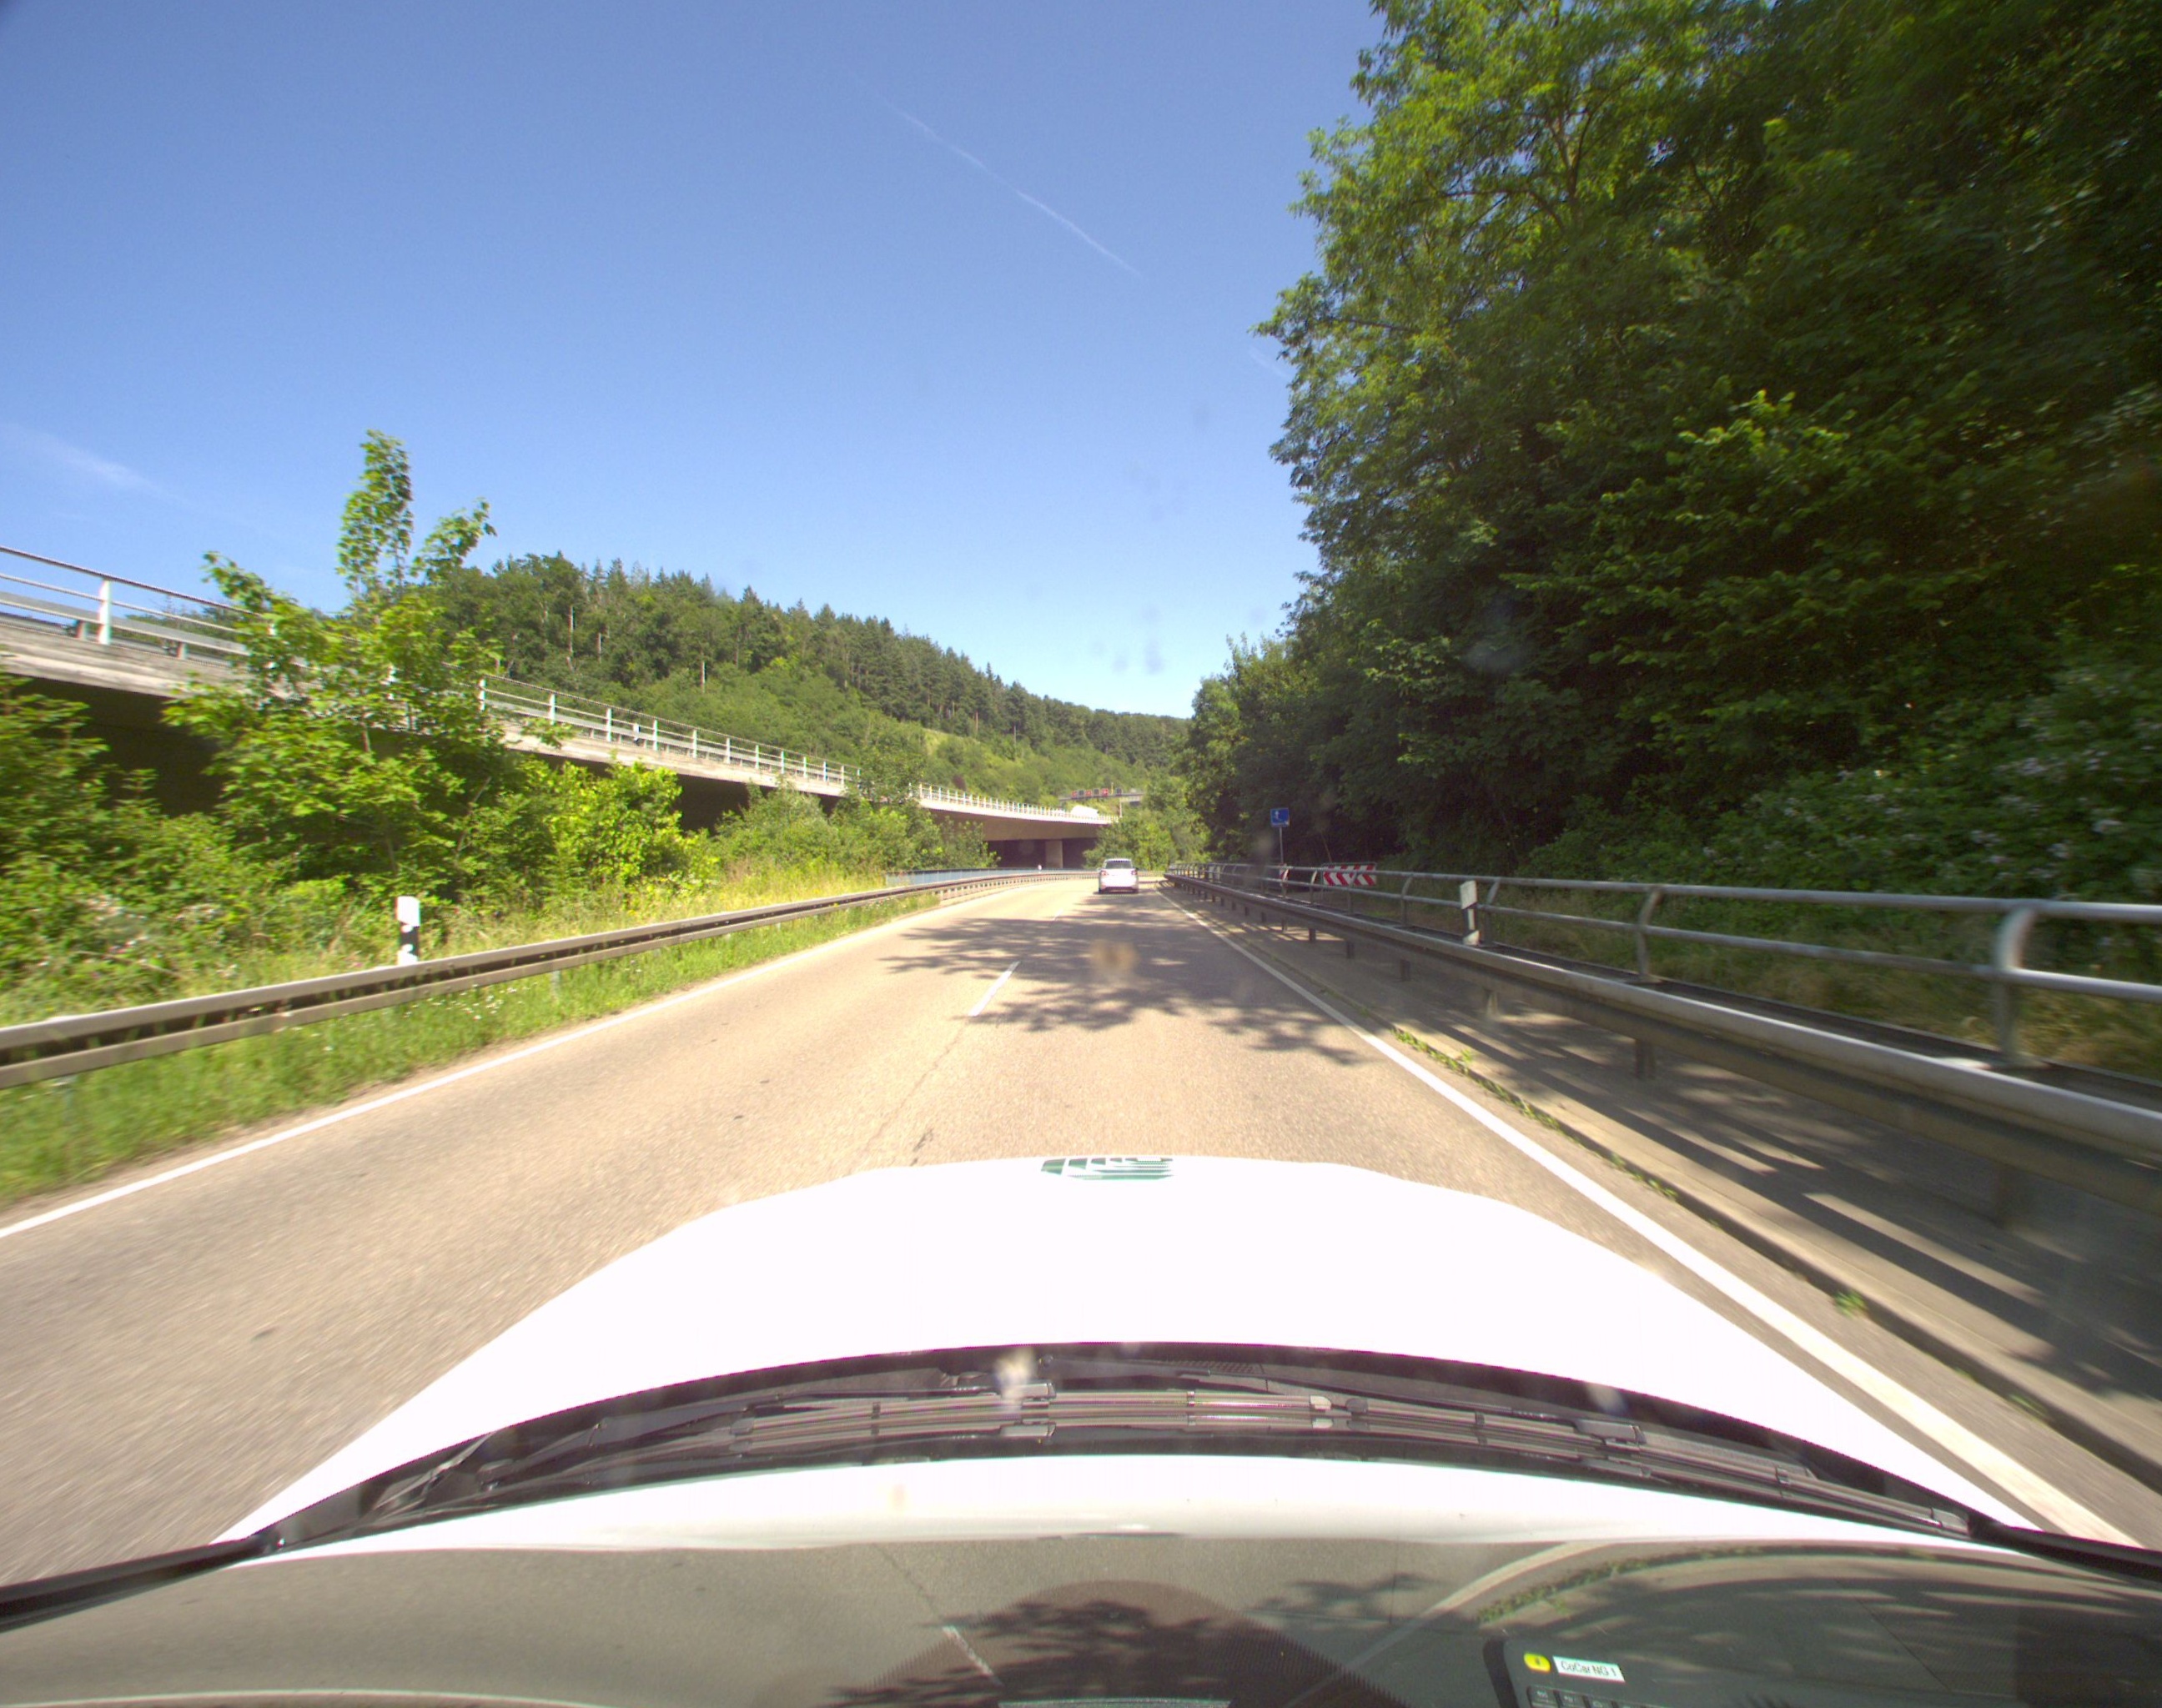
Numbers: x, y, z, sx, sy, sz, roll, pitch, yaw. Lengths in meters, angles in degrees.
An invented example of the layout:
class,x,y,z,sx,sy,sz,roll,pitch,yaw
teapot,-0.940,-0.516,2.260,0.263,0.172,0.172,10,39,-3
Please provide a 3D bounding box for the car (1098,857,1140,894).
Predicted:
class,x,y,z,sx,sy,sz,roll,pitch,yaw
car,1.670,0.909,36.362,1.744,1.520,4.161,-1,0,2

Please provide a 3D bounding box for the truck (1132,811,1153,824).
class,x,y,z,sx,sy,sz,roll,pitch,yaw
truck,17.440,-10.316,230.382,3.730,3.384,10.555,0,1,17

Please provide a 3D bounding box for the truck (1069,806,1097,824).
class,x,y,z,sx,sy,sz,roll,pitch,yaw
truck,0.475,-8.086,169.855,3.346,3.354,10.215,0,0,14
